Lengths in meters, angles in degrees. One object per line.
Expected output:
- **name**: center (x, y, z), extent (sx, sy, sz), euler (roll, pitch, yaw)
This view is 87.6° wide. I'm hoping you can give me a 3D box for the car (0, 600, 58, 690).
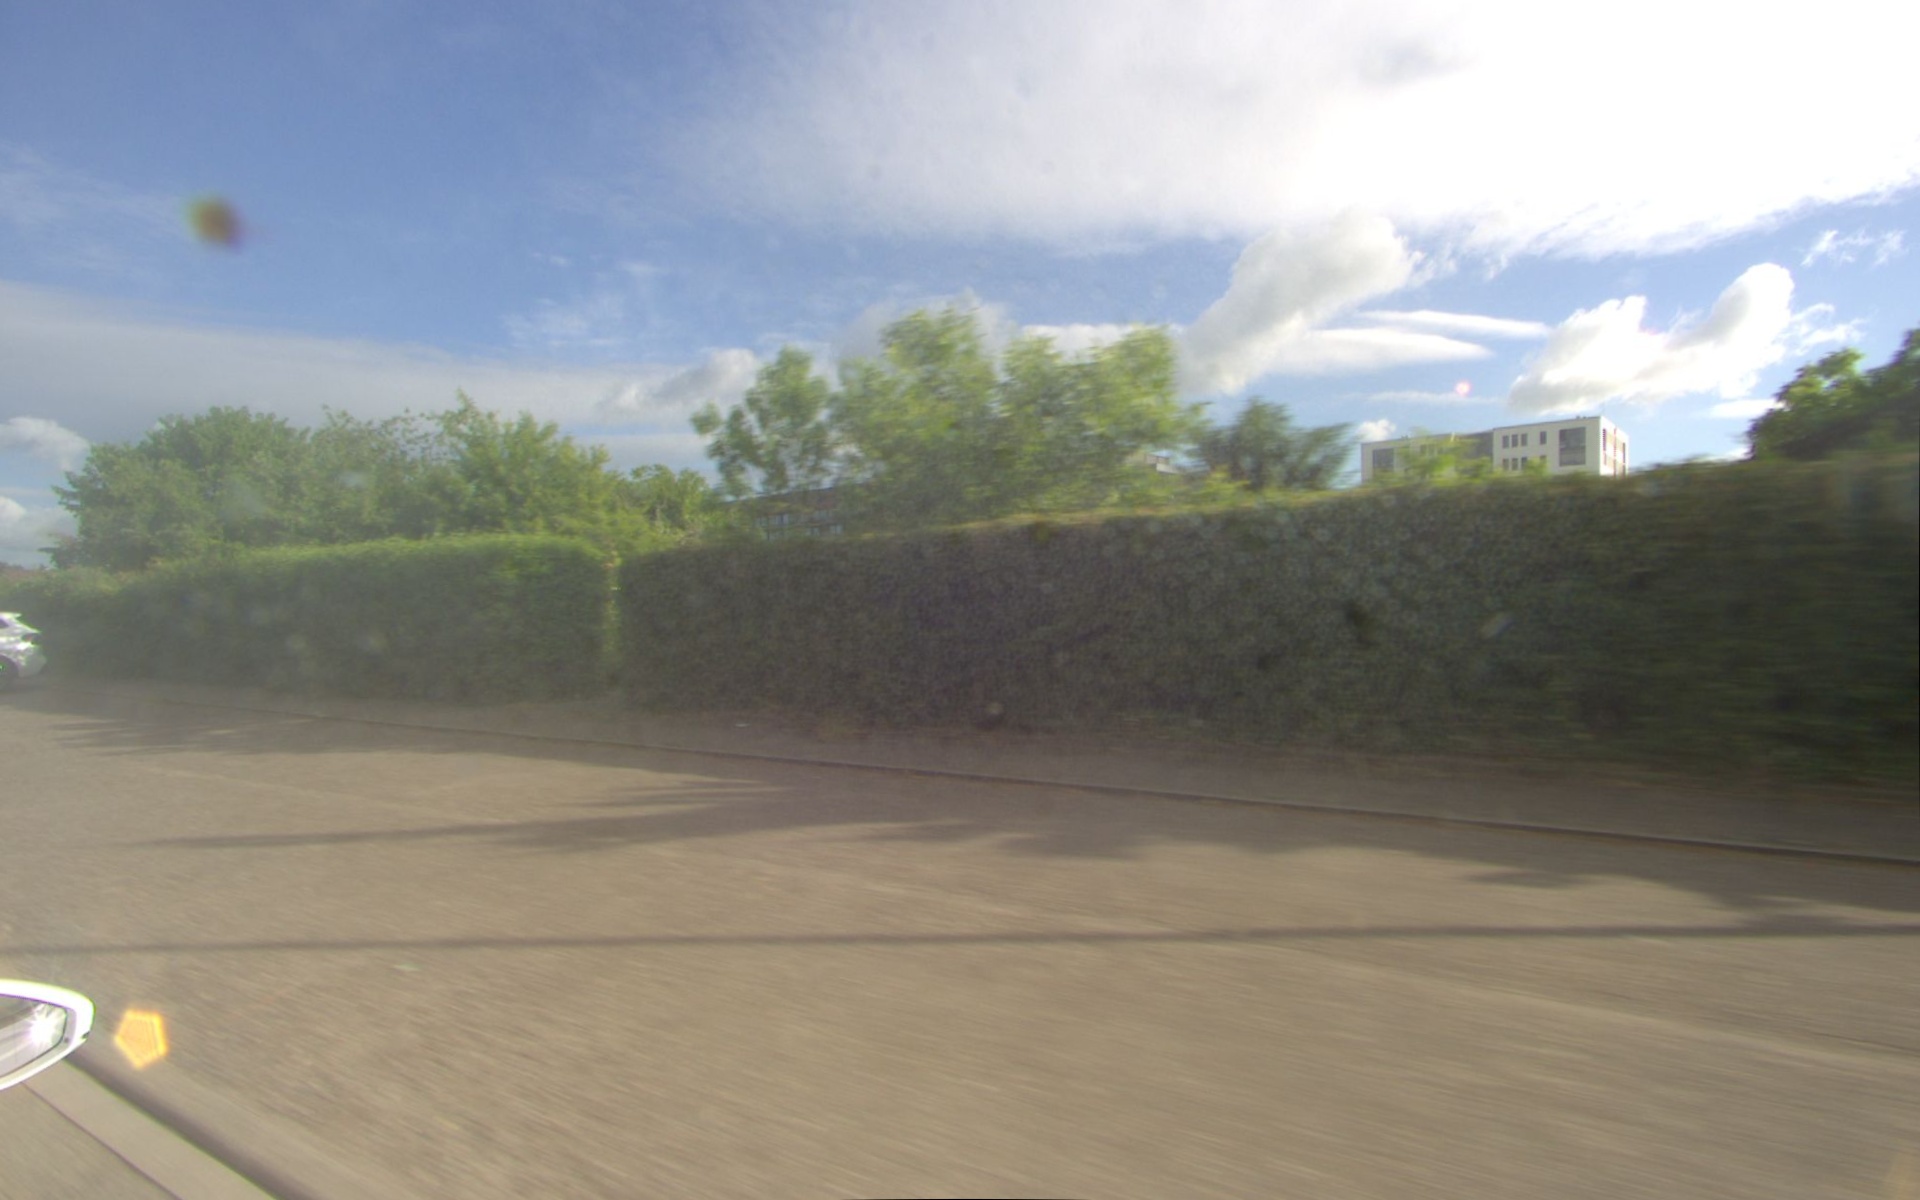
- **car**: center (-20.272, 0.954, 18.862), extent (1.740, 1.723, 4.570), euler (0, 2, 36)
